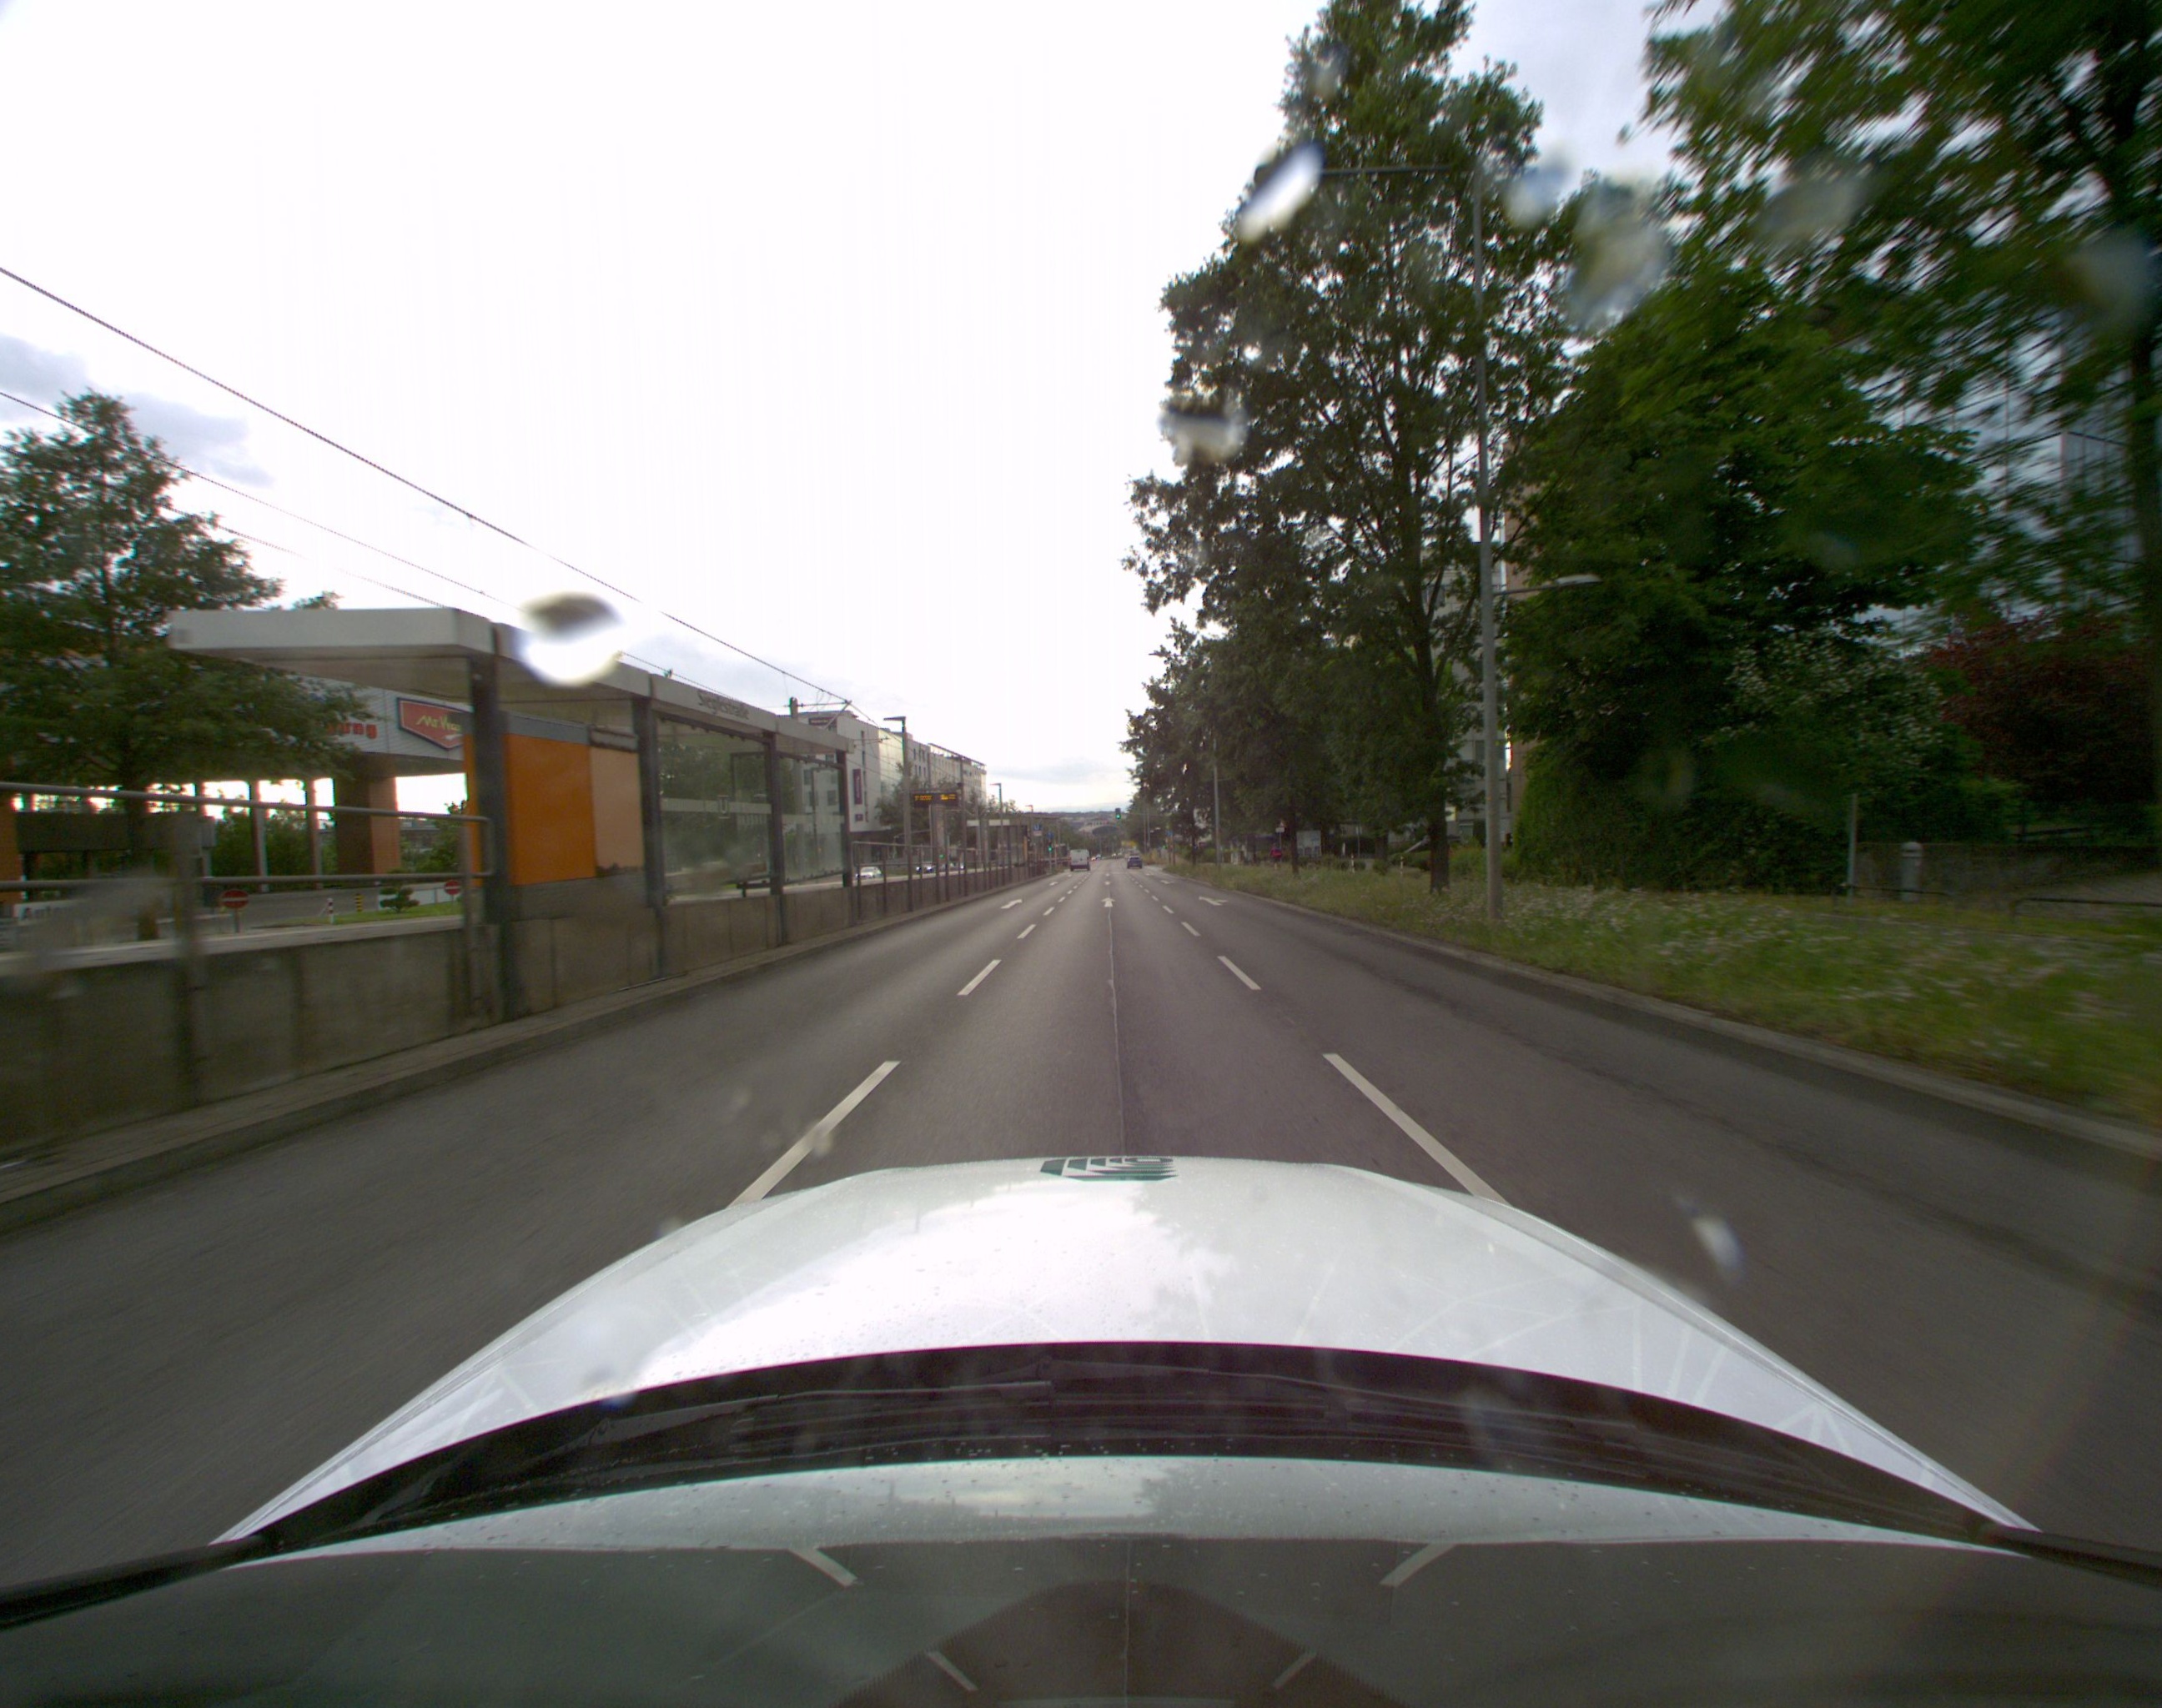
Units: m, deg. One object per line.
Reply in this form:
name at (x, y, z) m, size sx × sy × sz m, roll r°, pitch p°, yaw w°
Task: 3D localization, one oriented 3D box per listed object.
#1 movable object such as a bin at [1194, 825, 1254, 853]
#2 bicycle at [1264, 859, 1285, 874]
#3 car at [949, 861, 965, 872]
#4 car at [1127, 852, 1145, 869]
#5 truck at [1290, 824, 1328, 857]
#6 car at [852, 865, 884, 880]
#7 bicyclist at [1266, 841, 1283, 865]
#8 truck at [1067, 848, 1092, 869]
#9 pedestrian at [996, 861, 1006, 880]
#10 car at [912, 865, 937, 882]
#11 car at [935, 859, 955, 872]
movable object such as a bin at (30.170, -3.165, 172.344) m, size 12.093 × 5.261 × 3.791 m, roll -3°, pitch -1°, yaw 2°
bicycle at (10.543, 0.675, 44.391) m, size 0.665 × 0.809 × 2.319 m, roll 0°, pitch 0°, yaw 2°
car at (-17.888, 1.811, 117.641) m, size 1.722 × 1.423 × 3.780 m, roll -2°, pitch 0°, yaw 1°
car at (6.571, 0.796, 96.886) m, size 1.984 × 2.014 × 3.940 m, roll -1°, pitch 0°, yaw 5°
truck at (17.998, -1.047, 64.431) m, size 1.741 × 2.518 × 3.997 m, roll 0°, pitch 0°, yaw -1°
car at (-21.808, 1.883, 83.532) m, size 1.987 × 1.517 × 4.706 m, roll 0°, pitch 0°, yaw 0°
bicyclist at (10.515, -0.038, 44.327) m, size 0.653 × 1.288 × 1.220 m, roll 0°, pitch 0°, yaw 2°
truck at (-0.148, 0.475, 88.584) m, size 2.350 × 2.262 × 5.310 m, roll 0°, pitch 0°, yaw 3°
pedestrian at (-7.161, 1.453, 73.192) m, size 0.704 × 1.650 × 0.644 m, roll -1°, pitch 0°, yaw -27°
car at (-18.363, 2.274, 95.740) m, size 1.986 × 1.774 × 4.391 m, roll -2°, pitch 0°, yaw 2°
car at (-17.840, 1.488, 106.706) m, size 1.847 × 1.427 × 4.388 m, roll -4°, pitch 0°, yaw 0°
